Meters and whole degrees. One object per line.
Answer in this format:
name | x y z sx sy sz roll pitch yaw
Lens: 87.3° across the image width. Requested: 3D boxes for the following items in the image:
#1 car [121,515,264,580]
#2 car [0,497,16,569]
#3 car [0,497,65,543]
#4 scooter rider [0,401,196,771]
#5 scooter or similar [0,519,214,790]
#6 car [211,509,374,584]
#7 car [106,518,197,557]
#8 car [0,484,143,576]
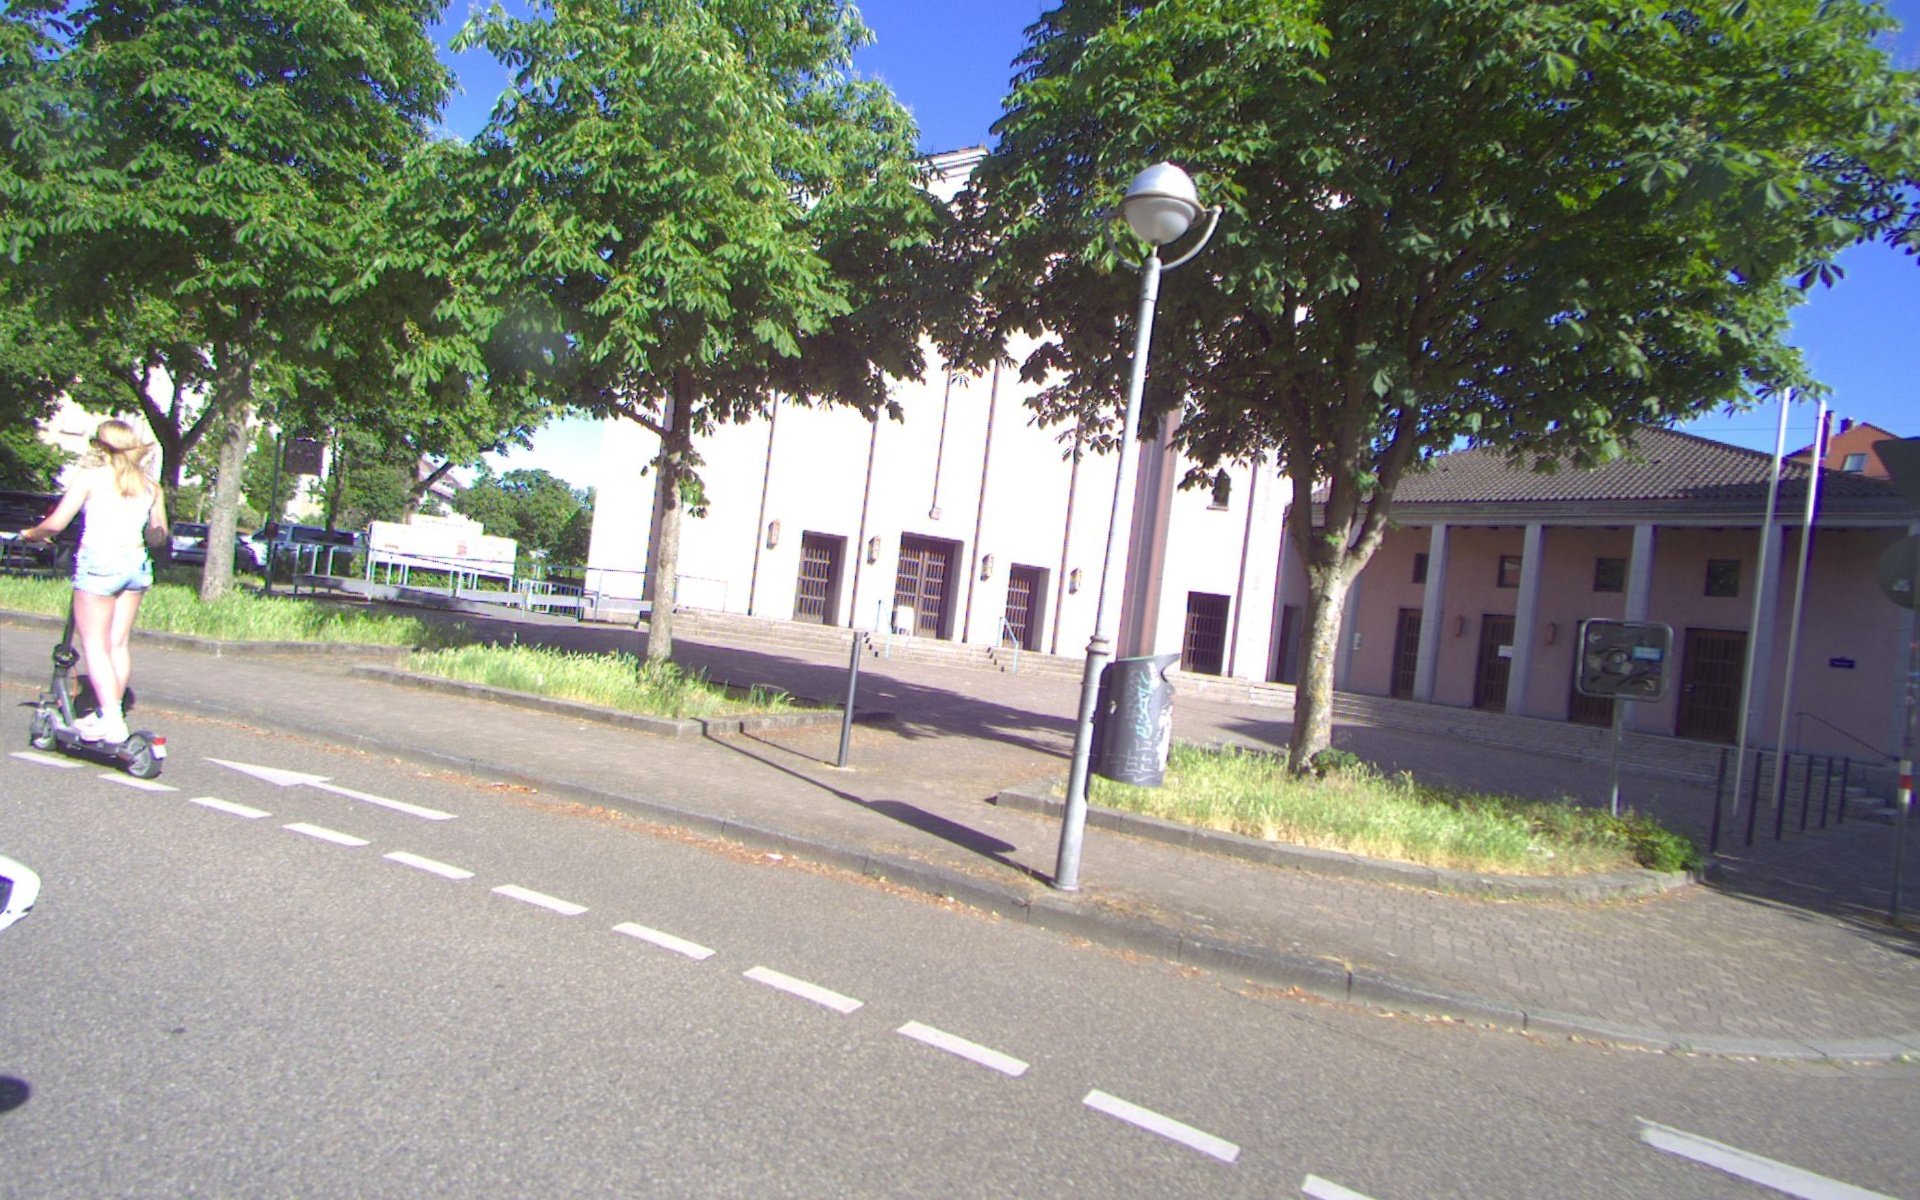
car | -23.319 -1.538 30.780 1.782 1.491 4.328 8 -2 -14
car | -19.407 -1.431 18.209 1.786 1.432 4.317 8 -2 -22
car | -34.414 -2.928 36.065 1.782 1.414 4.383 5 0 -18
scooter rider | -4.821 -0.072 5.485 0.620 1.854 0.626 7 0 16
scooter or similar | -4.866 0.262 5.482 1.085 1.298 0.633 7 0 16
car | -25.298 -1.975 38.357 4.718 2.024 1.801 9 -1 -23
car | -37.700 -2.883 47.067 1.782 1.414 4.383 5 0 -18
car | -20.703 -1.556 22.998 1.786 1.748 4.317 8 -2 -22
